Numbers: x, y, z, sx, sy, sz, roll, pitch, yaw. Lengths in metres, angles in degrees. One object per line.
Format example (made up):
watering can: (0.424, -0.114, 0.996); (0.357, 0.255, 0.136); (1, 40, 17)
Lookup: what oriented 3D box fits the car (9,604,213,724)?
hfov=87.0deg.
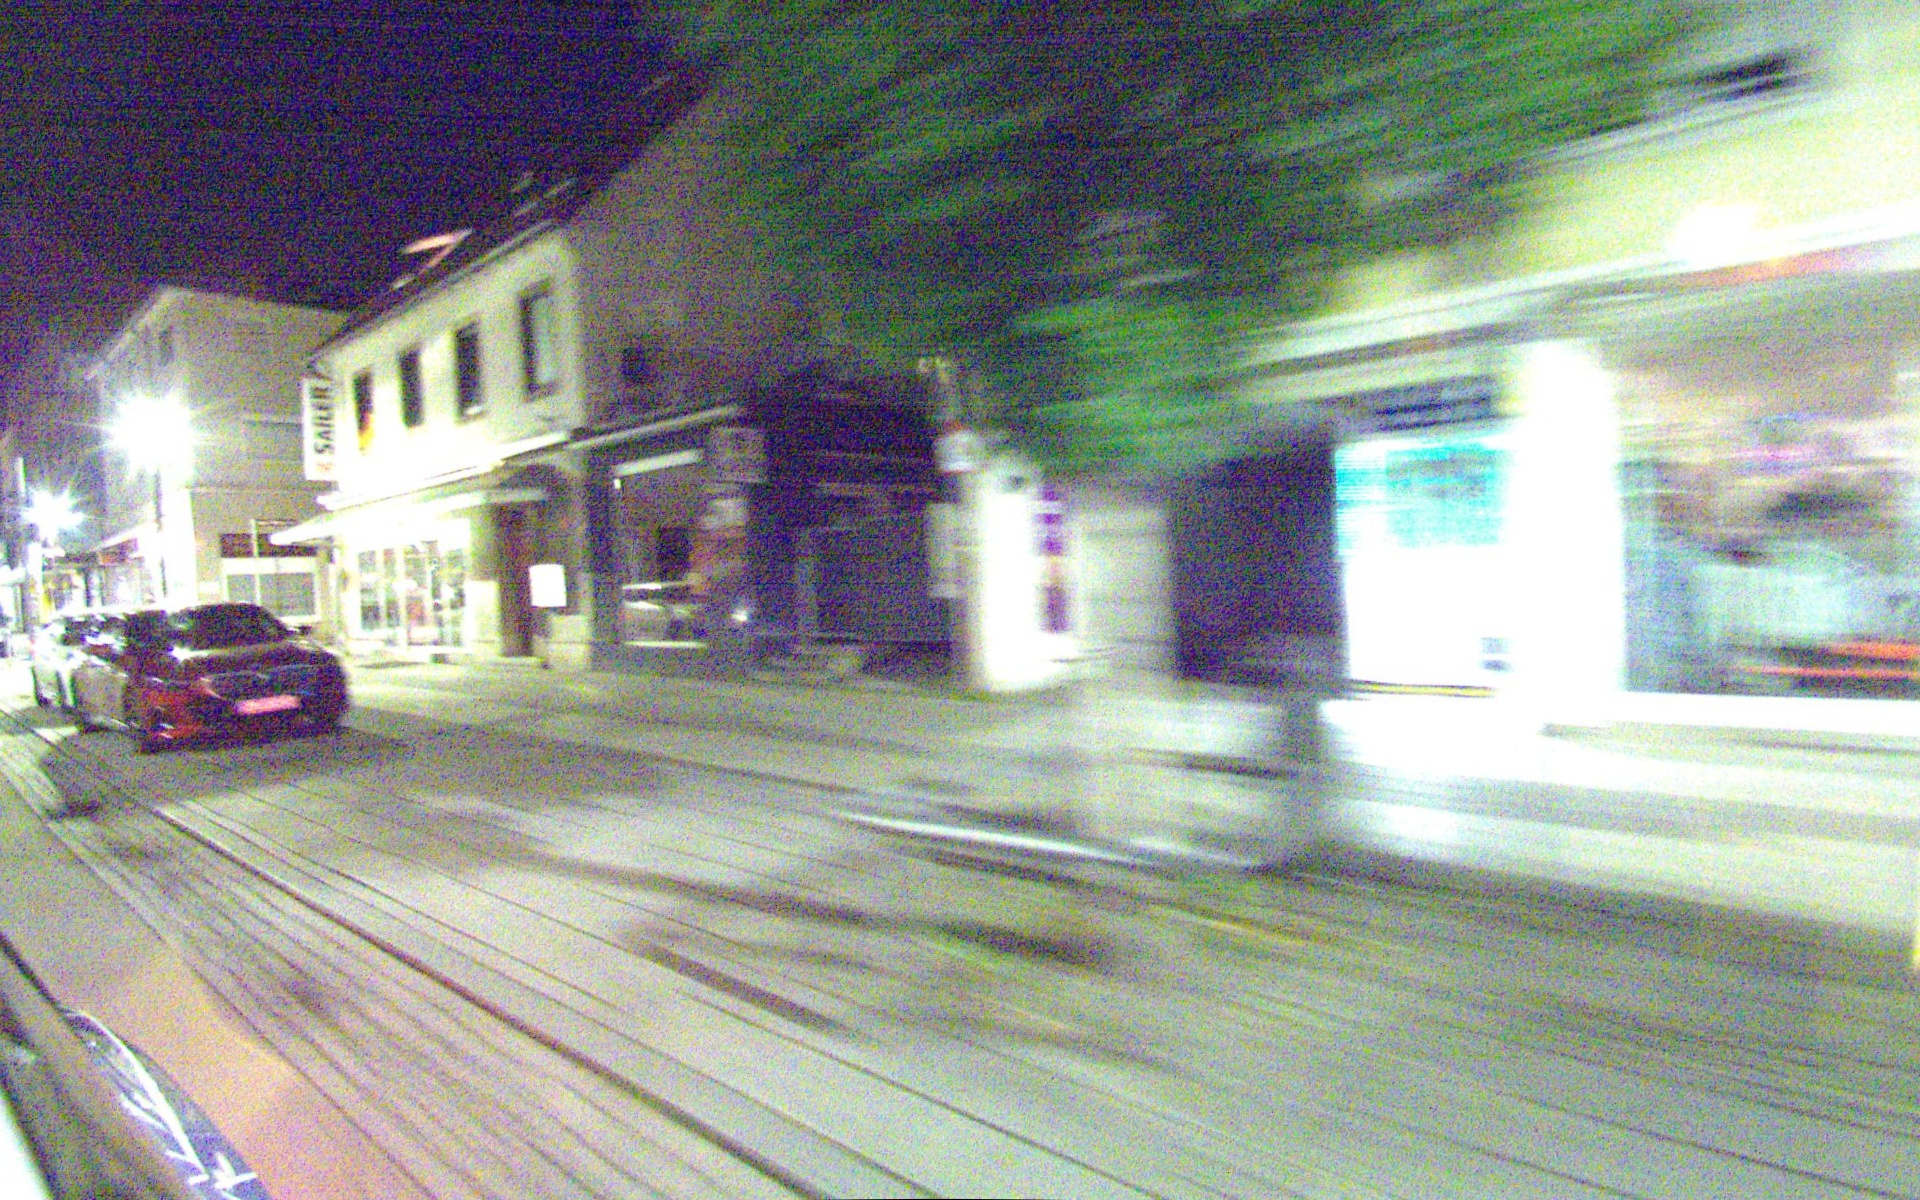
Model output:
car: (-12.953, 0.886, 15.368); (3.844, 1.487, 1.711); (-1, 2, 41)

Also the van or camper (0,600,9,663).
van or camper: (-32.562, 1.064, 33.220); (1.824, 1.956, 5.159); (-5, 3, -43)

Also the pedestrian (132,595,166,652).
pedestrian: (-26.138, 0.750, 32.599); (1.022, 1.758, 0.614); (-1, 2, 42)

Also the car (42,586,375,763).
car: (-8.920, 0.729, 11.817); (5.005, 1.498, 1.999); (-1, 4, 41)
